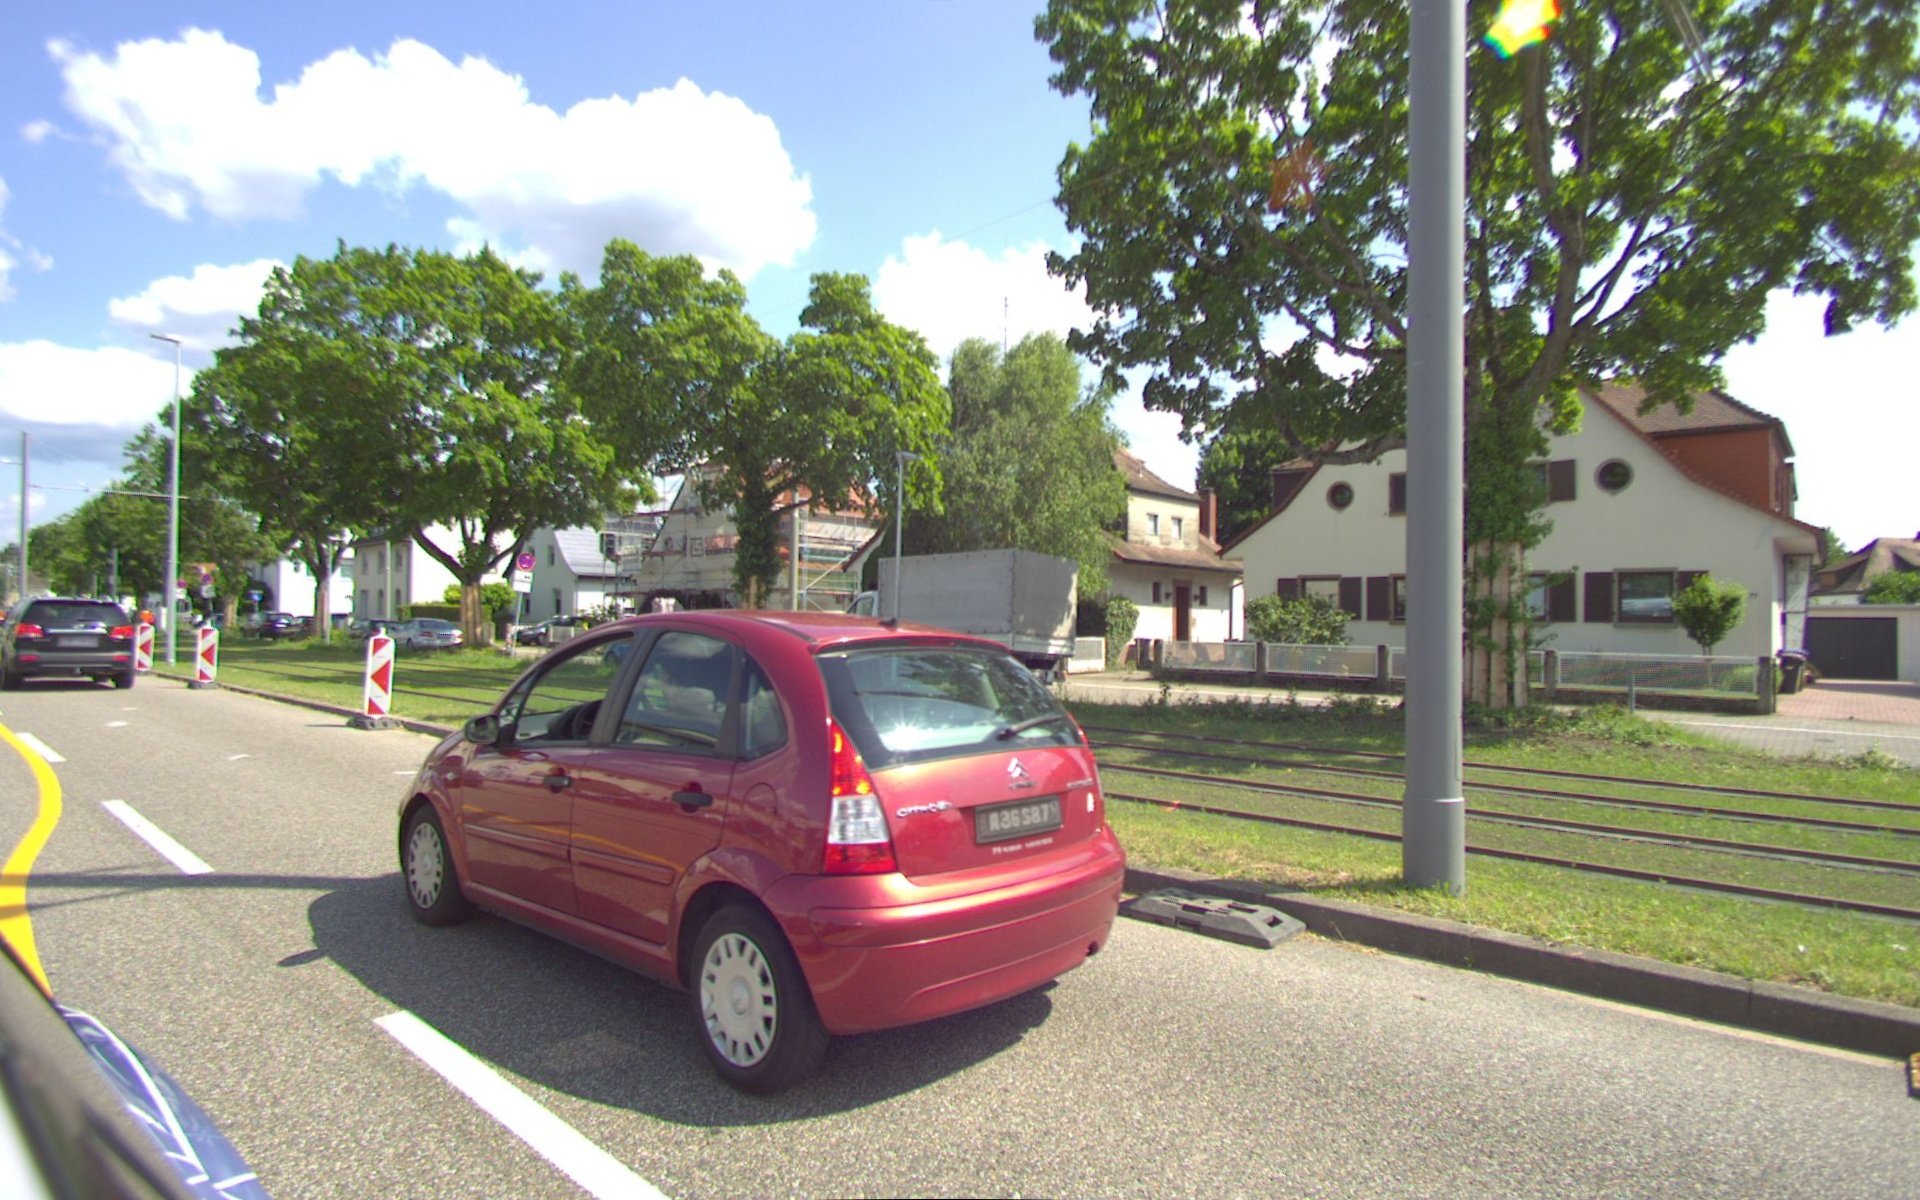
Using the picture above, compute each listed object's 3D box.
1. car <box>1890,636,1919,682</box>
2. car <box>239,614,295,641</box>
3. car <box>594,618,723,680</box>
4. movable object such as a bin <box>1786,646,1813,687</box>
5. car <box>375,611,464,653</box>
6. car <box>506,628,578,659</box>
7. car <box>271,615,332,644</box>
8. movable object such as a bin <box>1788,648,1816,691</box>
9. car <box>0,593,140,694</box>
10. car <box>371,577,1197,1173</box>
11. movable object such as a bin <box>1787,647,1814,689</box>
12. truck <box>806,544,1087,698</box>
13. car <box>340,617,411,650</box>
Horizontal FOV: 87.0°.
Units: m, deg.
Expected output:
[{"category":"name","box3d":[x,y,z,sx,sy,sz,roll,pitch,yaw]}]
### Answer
[{"category":"car","box3d":[27.876,1.688,29.190,1.343,1.183,2.835,0,1,38]},{"category":"car","box3d":[-37.627,1.463,54.924,4.000,1.311,1.615,0,1,42]},{"category":"car","box3d":[-8.496,1.319,28.360,3.930,1.524,1.650,0,1,42]},{"category":"movable object such as a bin","box3d":[18.734,1.478,22.580,0.458,0.874,0.469,0,1,41]},{"category":"car","box3d":[-21.546,1.237,40.284,4.523,1.524,1.685,0,1,42]},{"category":"car","box3d":[-20.798,2.161,50.455,3.190,1.393,1.492,-1,1,-18]},{"category":"car","box3d":[-33.157,1.481,50.924,4.000,1.311,1.615,0,1,42]},{"category":"movable object such as a bin","box3d":[18.167,1.489,21.840,0.458,0.874,0.469,0,1,41]},{"category":"car","box3d":[-17.078,0.795,19.088,4.219,1.703,1.777,-1,-3,42]},{"category":"car","box3d":[-1.027,0.722,4.371,3.720,1.480,1.561,-1,-2,42]},{"category":"movable object such as a bin","box3d":[18.453,1.483,22.212,0.458,0.874,0.469,0,1,41]},{"category":"truck","box3d":[-0.443,0.365,21.404,5.950,2.826,2.339,0,1,42]},{"category":"car","box3d":[-25.631,1.438,44.337,3.787,1.251,1.603,0,1,42]}]
